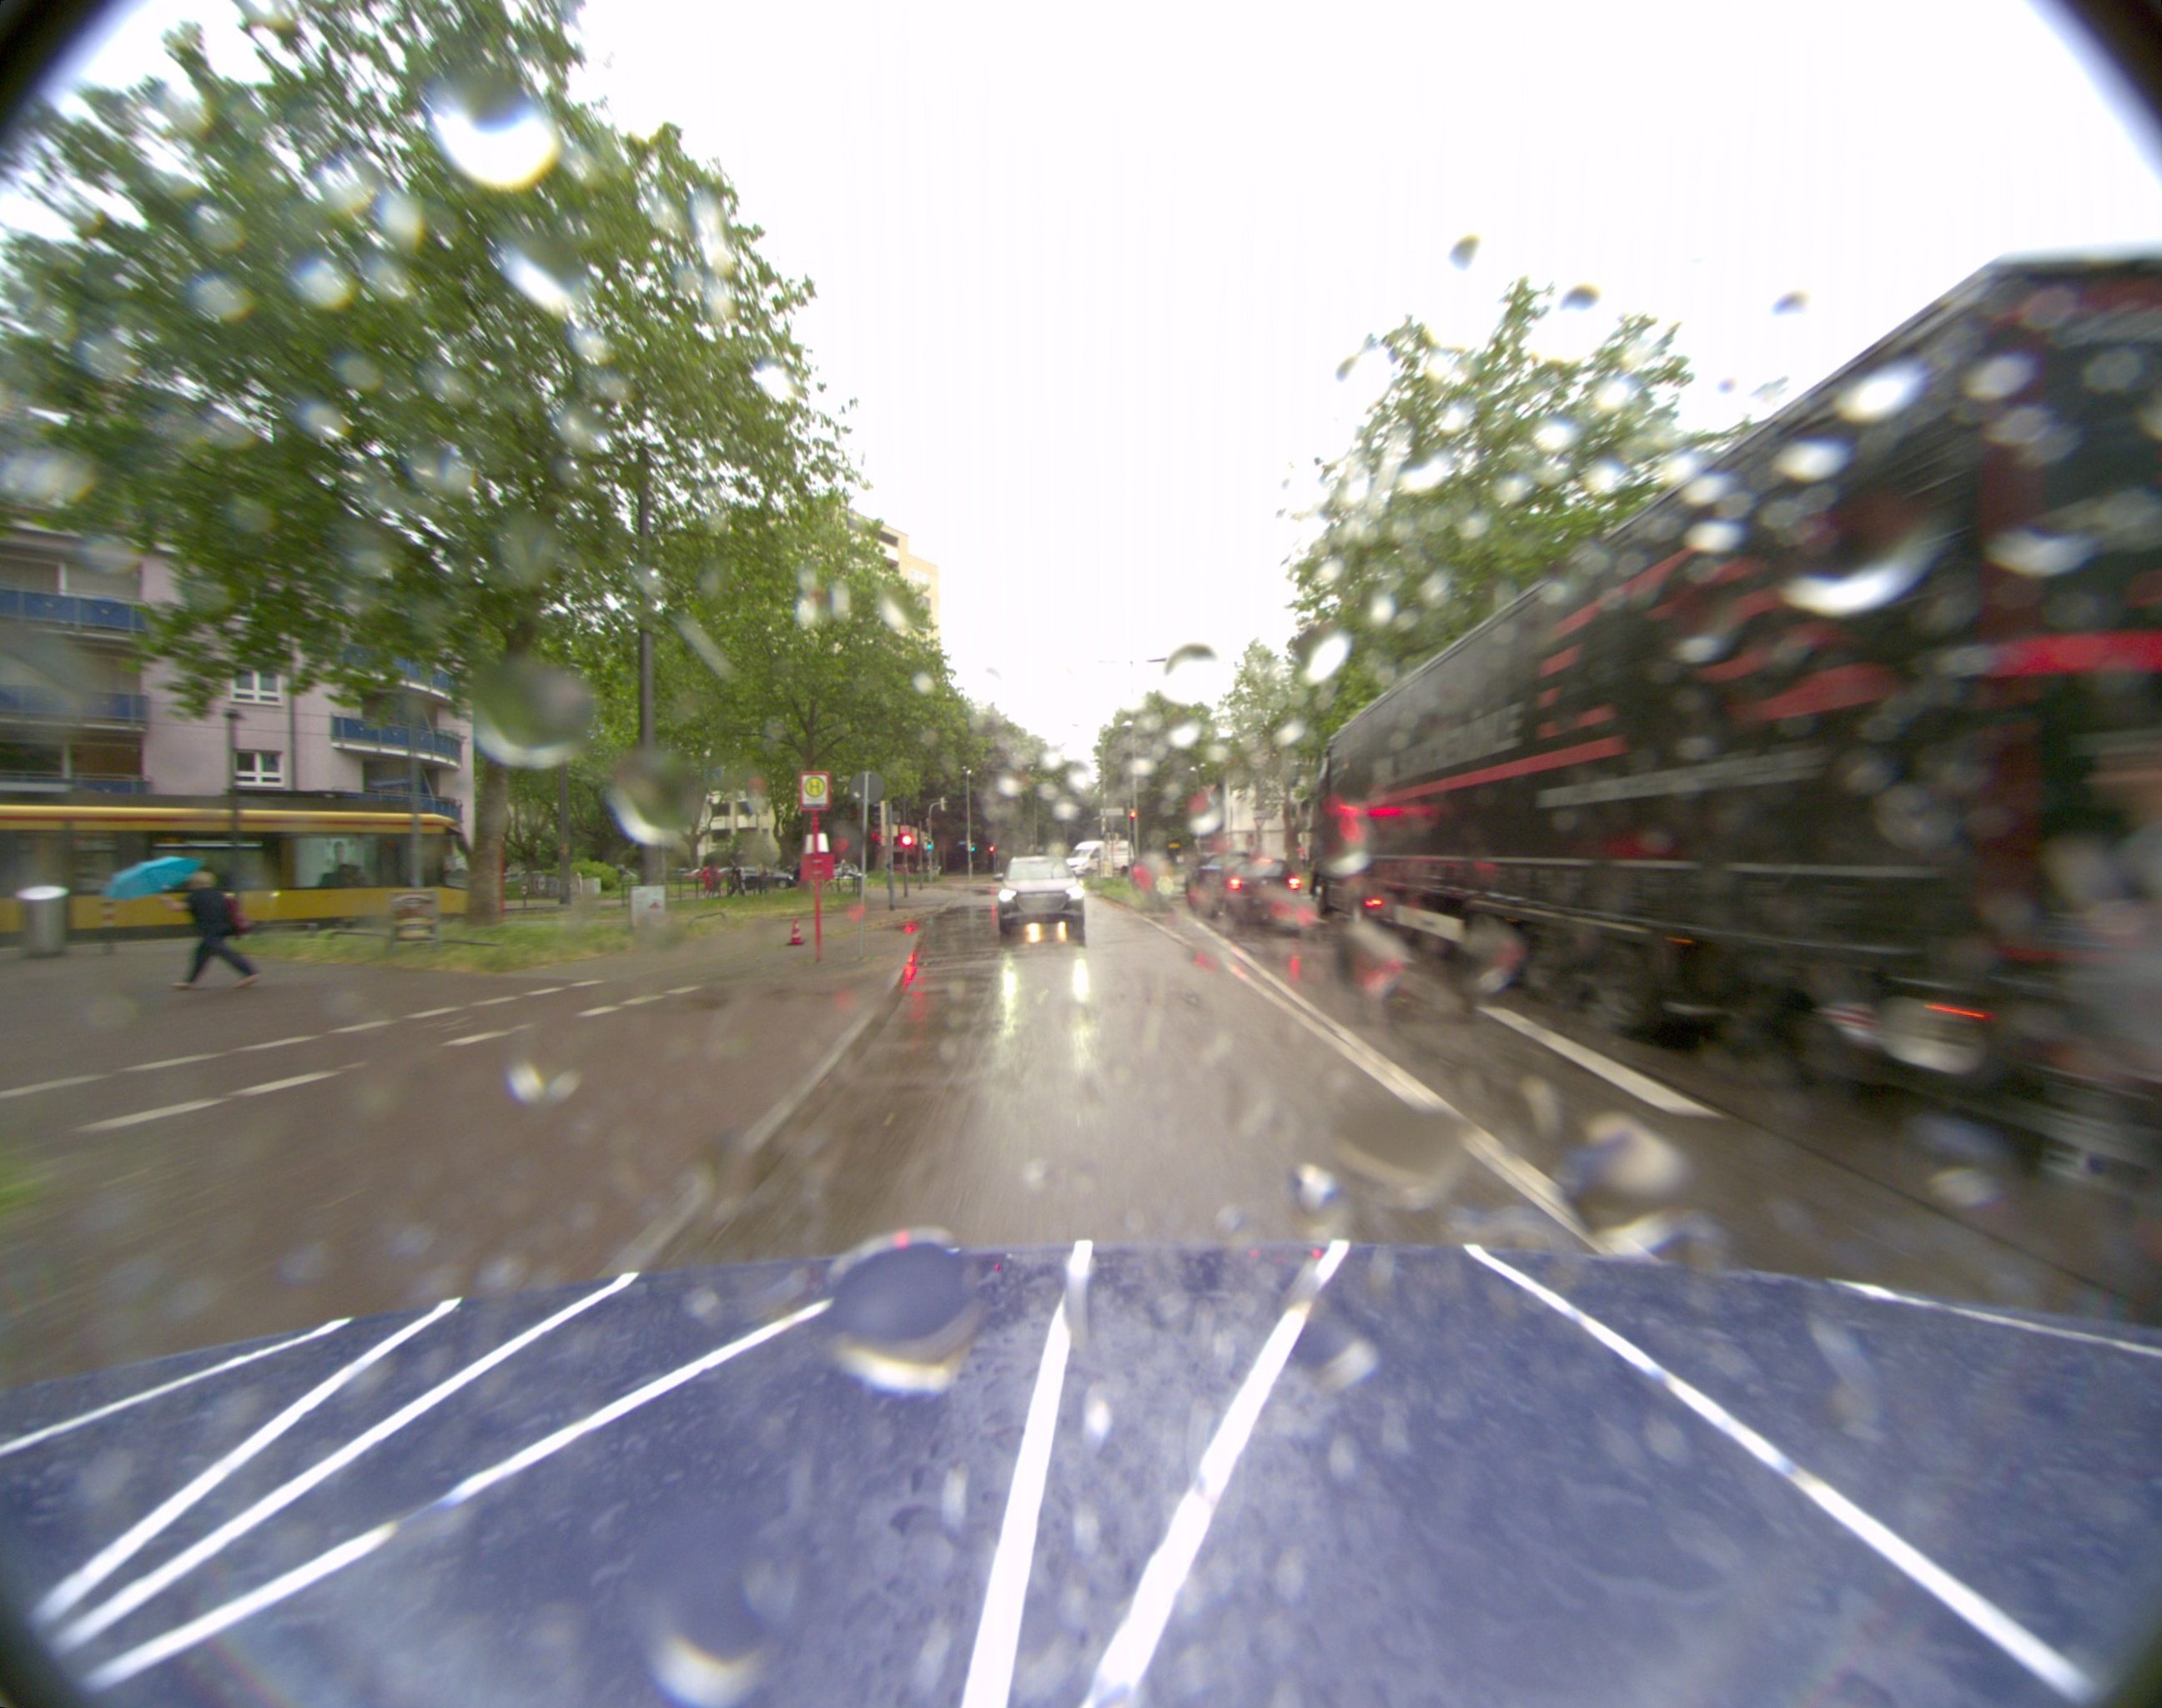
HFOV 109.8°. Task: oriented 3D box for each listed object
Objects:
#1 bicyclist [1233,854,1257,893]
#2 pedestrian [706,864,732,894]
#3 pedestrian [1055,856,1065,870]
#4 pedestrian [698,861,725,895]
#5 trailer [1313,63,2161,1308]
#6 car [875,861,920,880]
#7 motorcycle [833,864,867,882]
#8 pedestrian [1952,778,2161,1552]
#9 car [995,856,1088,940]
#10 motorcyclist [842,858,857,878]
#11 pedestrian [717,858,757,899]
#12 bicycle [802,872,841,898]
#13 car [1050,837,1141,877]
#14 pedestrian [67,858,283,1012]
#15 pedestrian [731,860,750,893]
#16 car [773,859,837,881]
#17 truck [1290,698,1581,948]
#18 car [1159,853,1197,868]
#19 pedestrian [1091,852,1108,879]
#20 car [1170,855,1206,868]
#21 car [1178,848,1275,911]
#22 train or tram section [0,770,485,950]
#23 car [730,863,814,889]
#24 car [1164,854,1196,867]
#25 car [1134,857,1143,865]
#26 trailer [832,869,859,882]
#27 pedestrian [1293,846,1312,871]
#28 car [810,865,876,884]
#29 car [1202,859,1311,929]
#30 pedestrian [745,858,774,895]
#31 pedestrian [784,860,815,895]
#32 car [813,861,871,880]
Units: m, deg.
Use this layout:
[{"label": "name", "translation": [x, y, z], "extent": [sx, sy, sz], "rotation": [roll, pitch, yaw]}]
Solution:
[{"label": "bicyclist", "translation": [6.265, 0.725, 29.064], "extent": [0.581, 1.452, 1.010], "rotation": [-1, 0, -7]}, {"label": "pedestrian", "translation": [-17.138, 1.173, 35.965], "extent": [1.012, 1.373, 0.672], "rotation": [-1, 0, -30]}, {"label": "pedestrian", "translation": [-2.422, 1.039, 88.409], "extent": [0.942, 1.650, 0.929], "rotation": [0, 0, 10]}, {"label": "pedestrian", "translation": [-17.157, 1.098, 35.267], "extent": [1.066, 1.516, 0.876], "rotation": [-1, 0, -31]}, {"label": "trailer", "translation": [6.005, -0.512, 9.134], "extent": [3.449, 4.025, 15.059], "rotation": [-1, 0, 7]}, {"label": "car", "translation": [-16.380, 1.468, 67.968], "extent": [3.458, 1.516, 1.842], "rotation": [-1, 0, 3]}, {"label": "motorcycle", "translation": [-16.056, 1.335, 52.917], "extent": [2.073, 1.207, 0.881], "rotation": [-1, 0, 0]}, {"label": "pedestrian", "translation": [2.984, 0.732, 1.725], "extent": [0.871, 1.832, 0.992], "rotation": [-1, 0, -1]}, {"label": "car", "translation": [-0.933, 0.921, 17.692], "extent": [1.809, 1.611, 4.136], "rotation": [-3, 0, -4]}, {"label": "motorcyclist", "translation": [-16.127, 0.971, 52.939], "extent": [0.754, 1.343, 0.758], "rotation": [-1, 0, 0]}, {"label": "pedestrian", "translation": [-15.223, 1.057, 33.639], "extent": [1.236, 1.778, 1.038], "rotation": [-1, 0, 2]}, {"label": "bicycle", "translation": [-11.505, 1.366, 33.676], "extent": [1.620, 1.070, 0.445], "rotation": [-1, 0, -19]}, {"label": "car", "translation": [1.085, 0.173, 52.402], "extent": [6.524, 2.547, 2.278], "rotation": [-1, 0, -44]}, {"label": "pedestrian", "translation": [-11.850, 0.997, 10.030], "extent": [1.386, 1.854, 1.172], "rotation": [-1, 0, -17]}, {"label": "pedestrian", "translation": [-16.136, 1.061, 35.979], "extent": [0.763, 1.538, 0.691], "rotation": [0, 0, -28]}, {"label": "car", "translation": [-21.951, 1.274, 60.635], "extent": [1.870, 1.654, 4.612], "rotation": [-1, 0, 30]}, {"label": "truck", "translation": [6.816, -0.460, 16.091], "extent": [3.457, 4.054, 6.978], "rotation": [-1, 0, 6]}, {"label": "car", "translation": [12.250, 0.843, 96.221], "extent": [4.665, 1.862, 2.035], "rotation": [0, 0, 7]}, {"label": "pedestrian", "translation": [1.047, 0.658, 43.859], "extent": [0.864, 1.572, 0.642], "rotation": [0, 0, -10]}, {"label": "car", "translation": [12.221, 0.846, 86.965], "extent": [3.996, 1.346, 1.798], "rotation": [-2, 0, 3]}, {"label": "car", "translation": [4.407, 0.791, 23.868], "extent": [2.079, 1.672, 4.931], "rotation": [-3, -2, 0]}, {"label": "train or tram section", "translation": [-18.754, 0.099, 17.029], "extent": [8.392, 3.349, 2.639], "rotation": [-1, 0, -39]}, {"label": "car", "translation": [-18.387, 1.297, 45.297], "extent": [4.175, 1.452, 1.994], "rotation": [-1, 0, -3]}, {"label": "car", "translation": [13.981, 0.893, 107.476], "extent": [4.438, 1.888, 2.034], "rotation": [0, 0, 5]}, {"label": "car", "translation": [13.342, 1.666, 175.584], "extent": [1.998, 1.795, 4.351], "rotation": [-1, 0, 3]}, {"label": "trailer", "translation": [-16.083, 1.498, 51.937], "extent": [1.481, 0.837, 1.027], "rotation": [-1, 0, 1]}, {"label": "pedestrian", "translation": [15.022, 0.330, 51.506], "extent": [0.861, 1.678, 0.847], "rotation": [0, 0, -21]}, {"label": "car", "translation": [-17.302, 1.492, 55.380], "extent": [4.170, 1.268, 1.902], "rotation": [-2, 0, -5]}, {"label": "car", "translation": [3.818, 0.824, 17.205], "extent": [1.702, 1.365, 4.101], "rotation": [-1, -1, 3]}, {"label": "pedestrian", "translation": [-15.679, 1.081, 37.055], "extent": [0.993, 1.771, 0.812], "rotation": [0, 0, 7]}, {"label": "pedestrian", "translation": [-13.706, 1.110, 37.016], "extent": [1.053, 1.676, 0.997], "rotation": [0, 0, 18]}, {"label": "car", "translation": [-21.431, 1.495, 68.198], "extent": [4.450, 1.598, 1.941], "rotation": [-1, 0, 5]}]
